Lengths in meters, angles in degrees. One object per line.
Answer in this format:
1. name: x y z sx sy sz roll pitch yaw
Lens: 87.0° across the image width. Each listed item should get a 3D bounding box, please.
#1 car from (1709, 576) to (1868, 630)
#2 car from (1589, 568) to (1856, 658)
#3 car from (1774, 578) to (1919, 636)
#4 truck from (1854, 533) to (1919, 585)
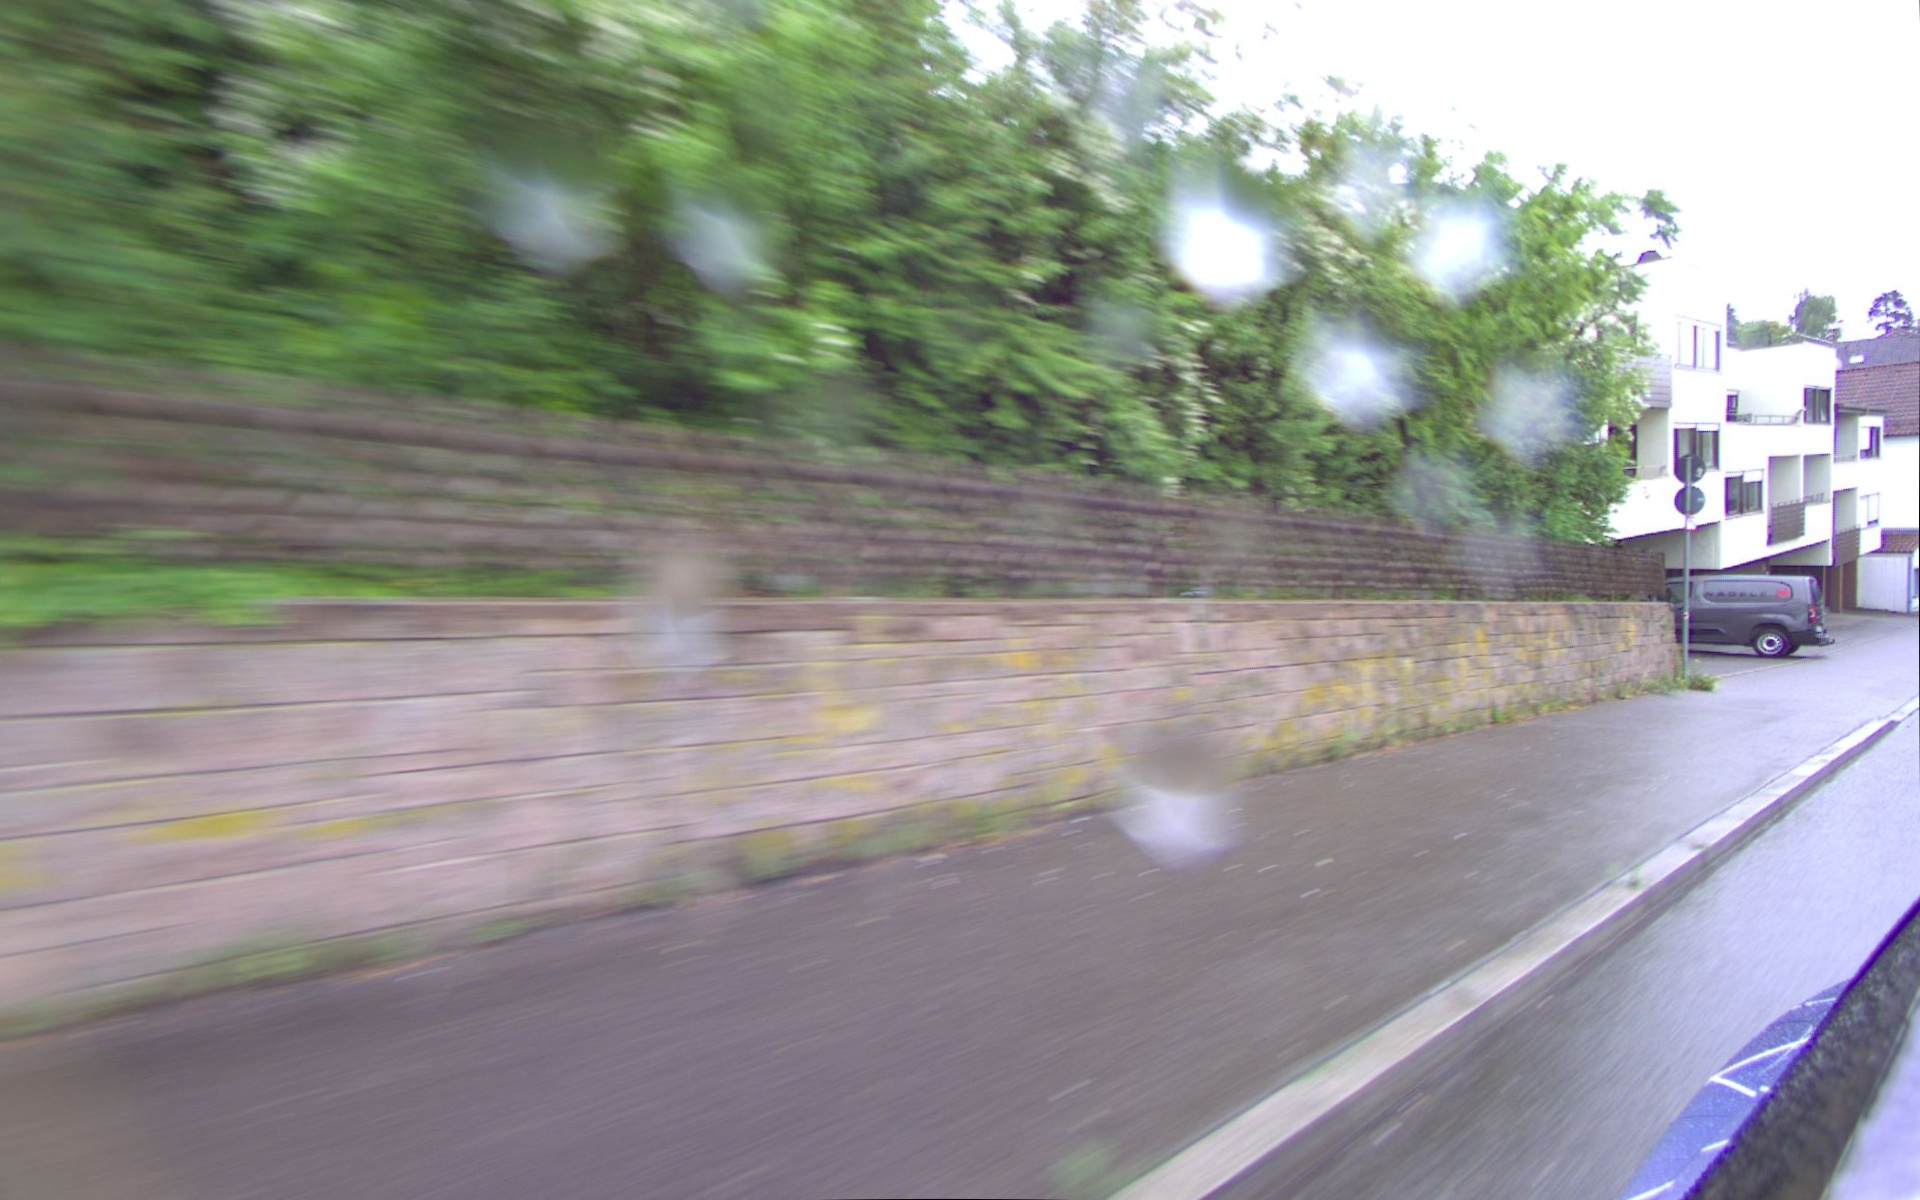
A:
1. car: 25.874 0.081 31.634 3.981 1.598 1.791 -1 0 -14
2. car: 17.831 0.209 23.864 1.966 1.842 4.716 -1 3 -41
3. car: 26.117 0.182 29.135 3.987 1.598 1.789 -1 0 -3
4. truck: 55.312 -2.156 56.937 2.097 2.733 7.000 -1 8 -27
